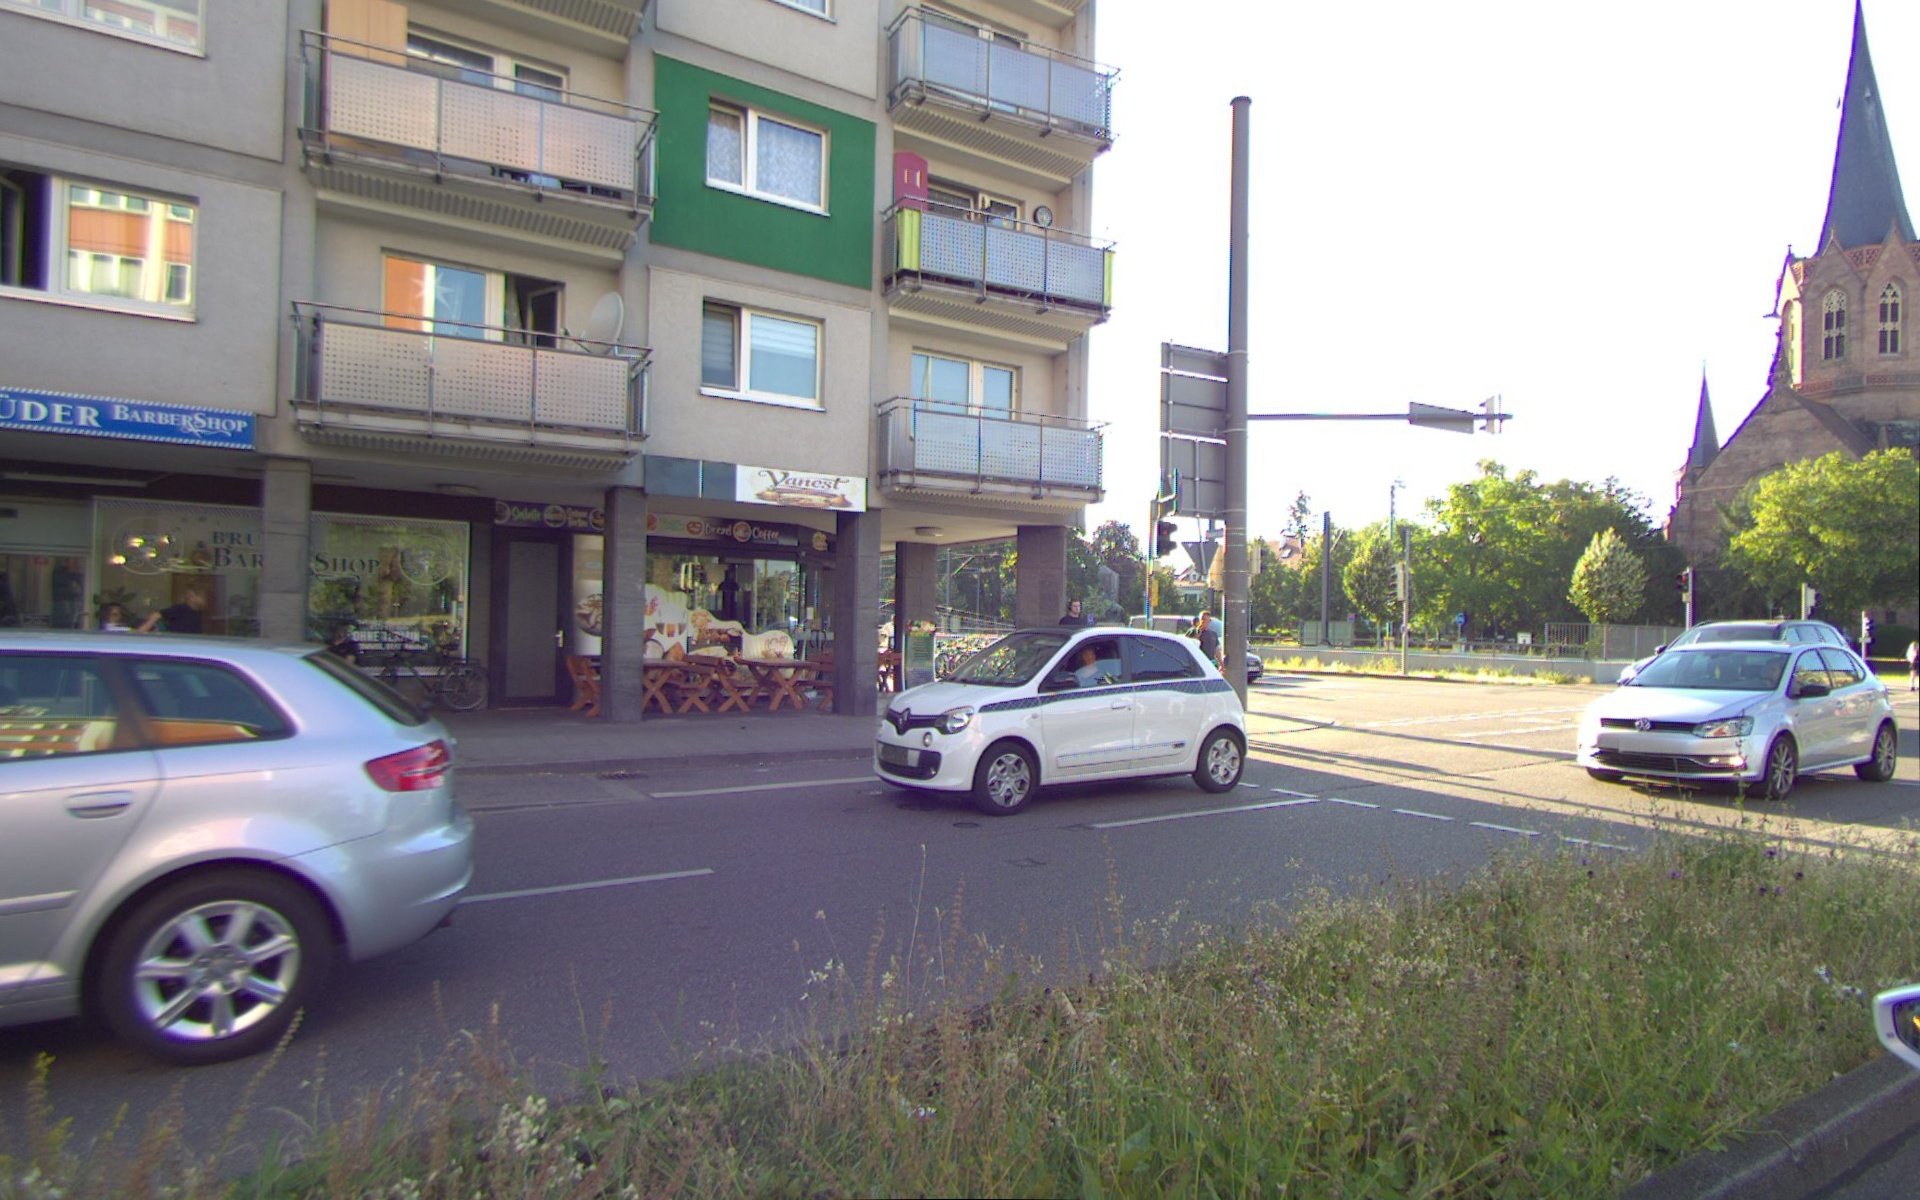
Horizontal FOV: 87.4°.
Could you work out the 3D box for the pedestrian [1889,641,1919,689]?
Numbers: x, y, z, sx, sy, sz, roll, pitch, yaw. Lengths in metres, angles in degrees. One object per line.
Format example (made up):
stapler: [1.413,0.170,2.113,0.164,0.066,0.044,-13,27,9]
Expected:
pedestrian: [35.591,2.431,37.618,0.803,1.762,0.960,2,-1,-30]

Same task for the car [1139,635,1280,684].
car: [7.593,1.788,30.934,1.781,1.330,4.165,2,-2,-32]

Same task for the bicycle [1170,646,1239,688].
bicycle: [6.878,1.876,28.313,0.940,1.112,1.769,1,-2,-30]

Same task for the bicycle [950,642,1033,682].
bicycle: [0.885,1.714,27.824,2.273,1.065,0.731,2,-2,-31]

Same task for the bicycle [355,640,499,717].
bicycle: [-7.493,1.083,14.163,1.684,1.012,0.619,3,-2,-40]

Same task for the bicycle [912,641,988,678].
bicycle: [-0.278,1.769,29.783,2.273,1.065,0.558,2,-2,-31]

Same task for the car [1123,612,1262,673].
car: [8.258,1.481,36.119,1.978,2.040,4.896,2,-2,-32]

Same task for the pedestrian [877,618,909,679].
pedestrian: [-1.931,1.387,28.978,0.677,1.745,0.605,2,-1,-31]

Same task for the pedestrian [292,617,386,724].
pedestrian: [-8.087,0.900,13.111,0.613,1.331,0.811,1,-1,16]

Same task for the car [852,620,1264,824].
car: [0.966,1.010,9.408,3.597,1.565,1.667,2,-3,-32]

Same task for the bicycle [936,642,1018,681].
bicycle: [0.484,1.740,28.517,2.273,1.065,0.731,2,-2,-31]

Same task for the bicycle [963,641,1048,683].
bicycle: [1.248,1.676,27.145,2.273,1.065,0.731,2,-2,-31]

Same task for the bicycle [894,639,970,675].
bicycle: [-0.848,1.745,30.802,2.273,1.065,0.642,2,-2,-31]

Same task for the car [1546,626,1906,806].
car: [7.994,1.080,10.428,3.762,1.565,1.667,1,-3,-31]

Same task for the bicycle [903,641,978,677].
bicycle: [-0.572,1.779,30.292,2.273,1.065,0.558,2,-2,-31]

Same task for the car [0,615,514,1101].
car: [-3.833,0.785,3.400,4.057,1.444,1.700,2,-3,-32]

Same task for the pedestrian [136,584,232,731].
pedestrian: [-9.234,0.669,11.964,0.613,1.694,0.658,1,-1,24]

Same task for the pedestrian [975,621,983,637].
pedestrian: [2.268,3.387,118.397,0.677,1.847,0.531,2,-1,-26]

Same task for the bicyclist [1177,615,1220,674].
bicyclist: [6.767,1.259,28.521,0.952,1.619,0.732,1,-2,-30]

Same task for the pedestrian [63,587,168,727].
pedestrian: [-9.281,0.619,11.064,0.615,1.486,0.657,1,-1,-15]

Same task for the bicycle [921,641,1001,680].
bicycle: [0.047,1.753,29.197,2.273,1.065,0.731,2,-2,-31]

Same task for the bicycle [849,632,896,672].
bicycle: [-2.537,1.468,28.835,0.514,1.106,2.050,1,-2,-30]

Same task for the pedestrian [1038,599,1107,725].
pedestrian: [1.768,0.959,15.777,0.802,1.900,0.605,2,1,-30]

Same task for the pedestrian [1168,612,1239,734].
pedestrian: [3.751,1.108,15.507,0.802,1.811,0.606,2,1,-27]

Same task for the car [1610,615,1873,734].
car: [12.968,1.171,16.606,4.730,1.733,1.807,1,-3,-31]
